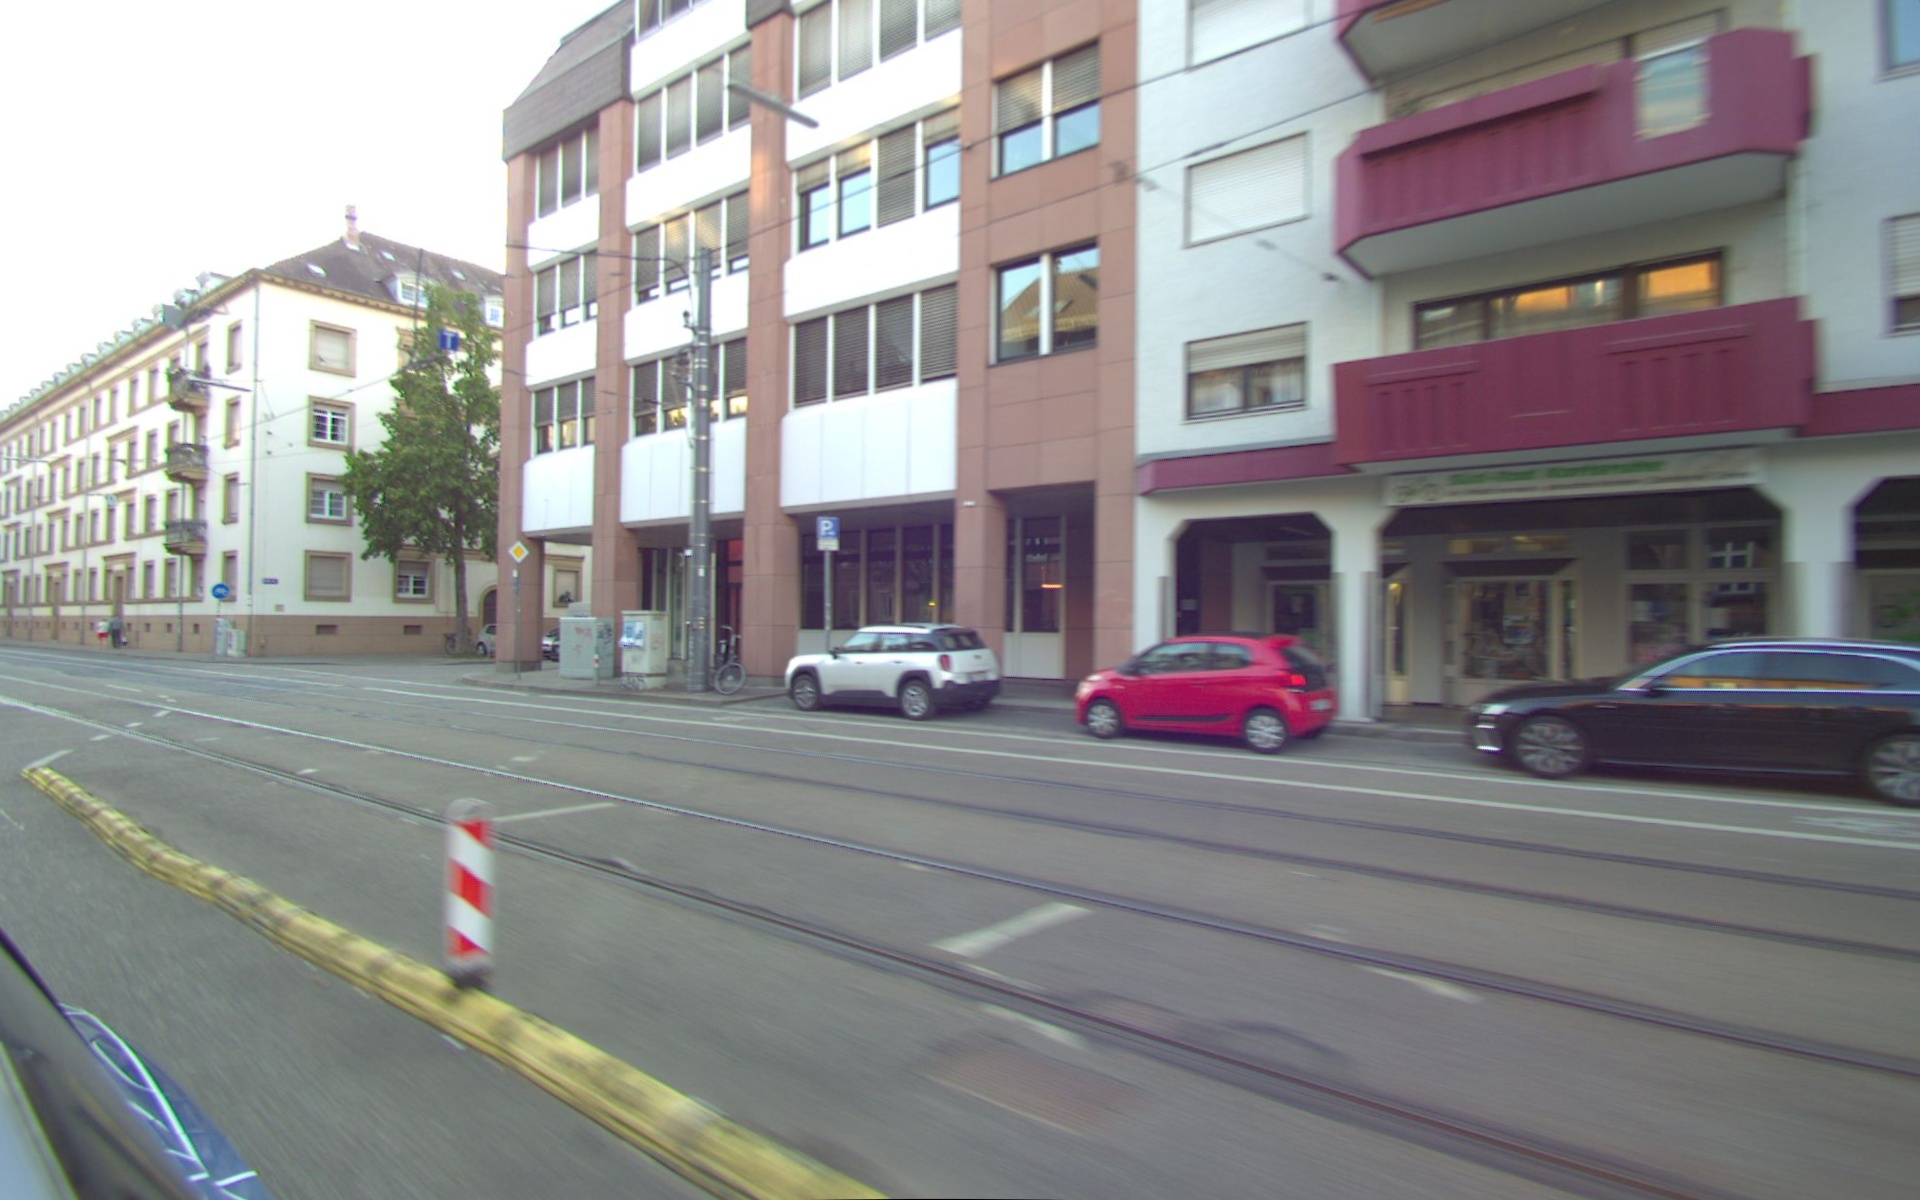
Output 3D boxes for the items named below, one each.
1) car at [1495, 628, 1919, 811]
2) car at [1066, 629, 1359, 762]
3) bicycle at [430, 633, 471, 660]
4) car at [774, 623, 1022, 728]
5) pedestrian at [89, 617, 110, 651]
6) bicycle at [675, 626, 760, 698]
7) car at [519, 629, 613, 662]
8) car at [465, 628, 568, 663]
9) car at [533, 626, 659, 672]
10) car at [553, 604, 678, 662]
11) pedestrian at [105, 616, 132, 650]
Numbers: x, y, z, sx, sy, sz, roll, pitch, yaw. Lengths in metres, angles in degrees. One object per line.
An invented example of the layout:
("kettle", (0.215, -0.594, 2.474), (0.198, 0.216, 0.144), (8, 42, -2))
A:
("car", (7.987, 1.065, 10.069), (4.473, 1.490, 1.976), (-1, 0, 36))
("car", (3.332, 1.167, 13.627), (3.476, 1.490, 1.595), (-1, 0, 39))
("bicycle", (-23.028, 2.101, 45.750), (0.600, 1.222, 1.672), (0, -2, 20))
("car", (-1.145, 1.195, 17.349), (4.198, 1.567, 1.700), (-1, -1, 39))
("pedestrian", (-42.636, 1.681, 50.128), (0.809, 1.622, 0.585), (-1, -2, 36))
("bicycle", (-4.919, 1.222, 20.412), (0.601, 1.388, 2.260), (2, -3, -44))
("car", (-18.001, 2.048, 46.205), (4.163, 1.433, 1.777), (-1, -2, 30))
("car", (-19.113, 1.941, 43.605), (4.163, 1.433, 1.979), (-1, -2, 30))
("car", (-13.054, 1.751, 36.520), (1.917, 1.516, 3.958), (1, -2, 31))
("car", (-16.410, 1.544, 48.087), (6.106, 2.609, 2.076), (-1, -2, 30))
("pedestrian", (-42.009, 1.649, 50.534), (0.979, 1.714, 0.788), (-1, -2, 36))
